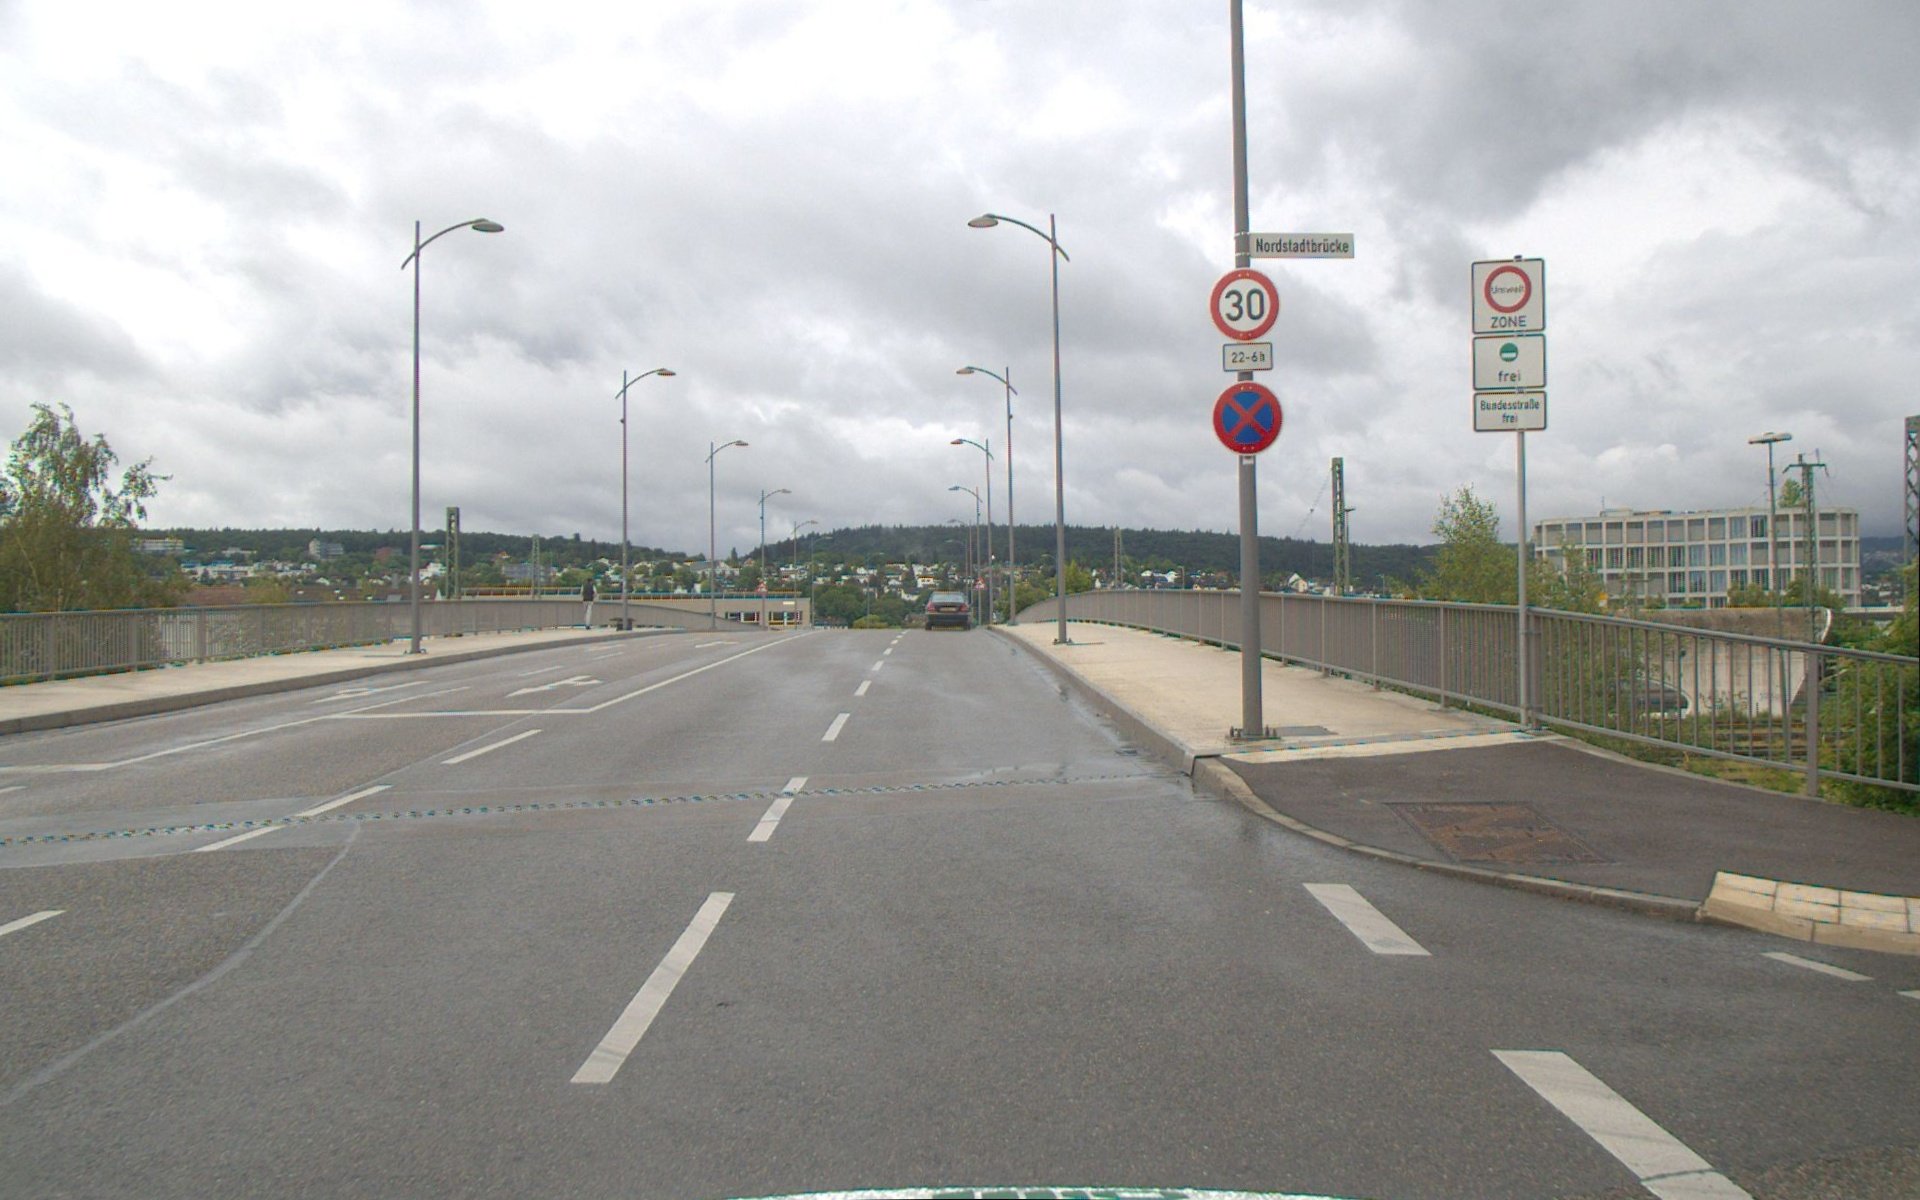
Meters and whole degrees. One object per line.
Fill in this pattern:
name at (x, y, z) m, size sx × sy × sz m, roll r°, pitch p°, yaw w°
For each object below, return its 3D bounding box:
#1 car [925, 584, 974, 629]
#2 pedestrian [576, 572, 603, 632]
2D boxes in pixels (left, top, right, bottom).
car at (-0.401, 0.273, 61.196) m, size 1.718 × 1.505 × 3.999 m, roll -1°, pitch -2°, yaw -1°
pedestrian at (-13.237, 0.081, 59.129) m, size 0.741 × 2.084 × 0.891 m, roll -1°, pitch -2°, yaw -1°
